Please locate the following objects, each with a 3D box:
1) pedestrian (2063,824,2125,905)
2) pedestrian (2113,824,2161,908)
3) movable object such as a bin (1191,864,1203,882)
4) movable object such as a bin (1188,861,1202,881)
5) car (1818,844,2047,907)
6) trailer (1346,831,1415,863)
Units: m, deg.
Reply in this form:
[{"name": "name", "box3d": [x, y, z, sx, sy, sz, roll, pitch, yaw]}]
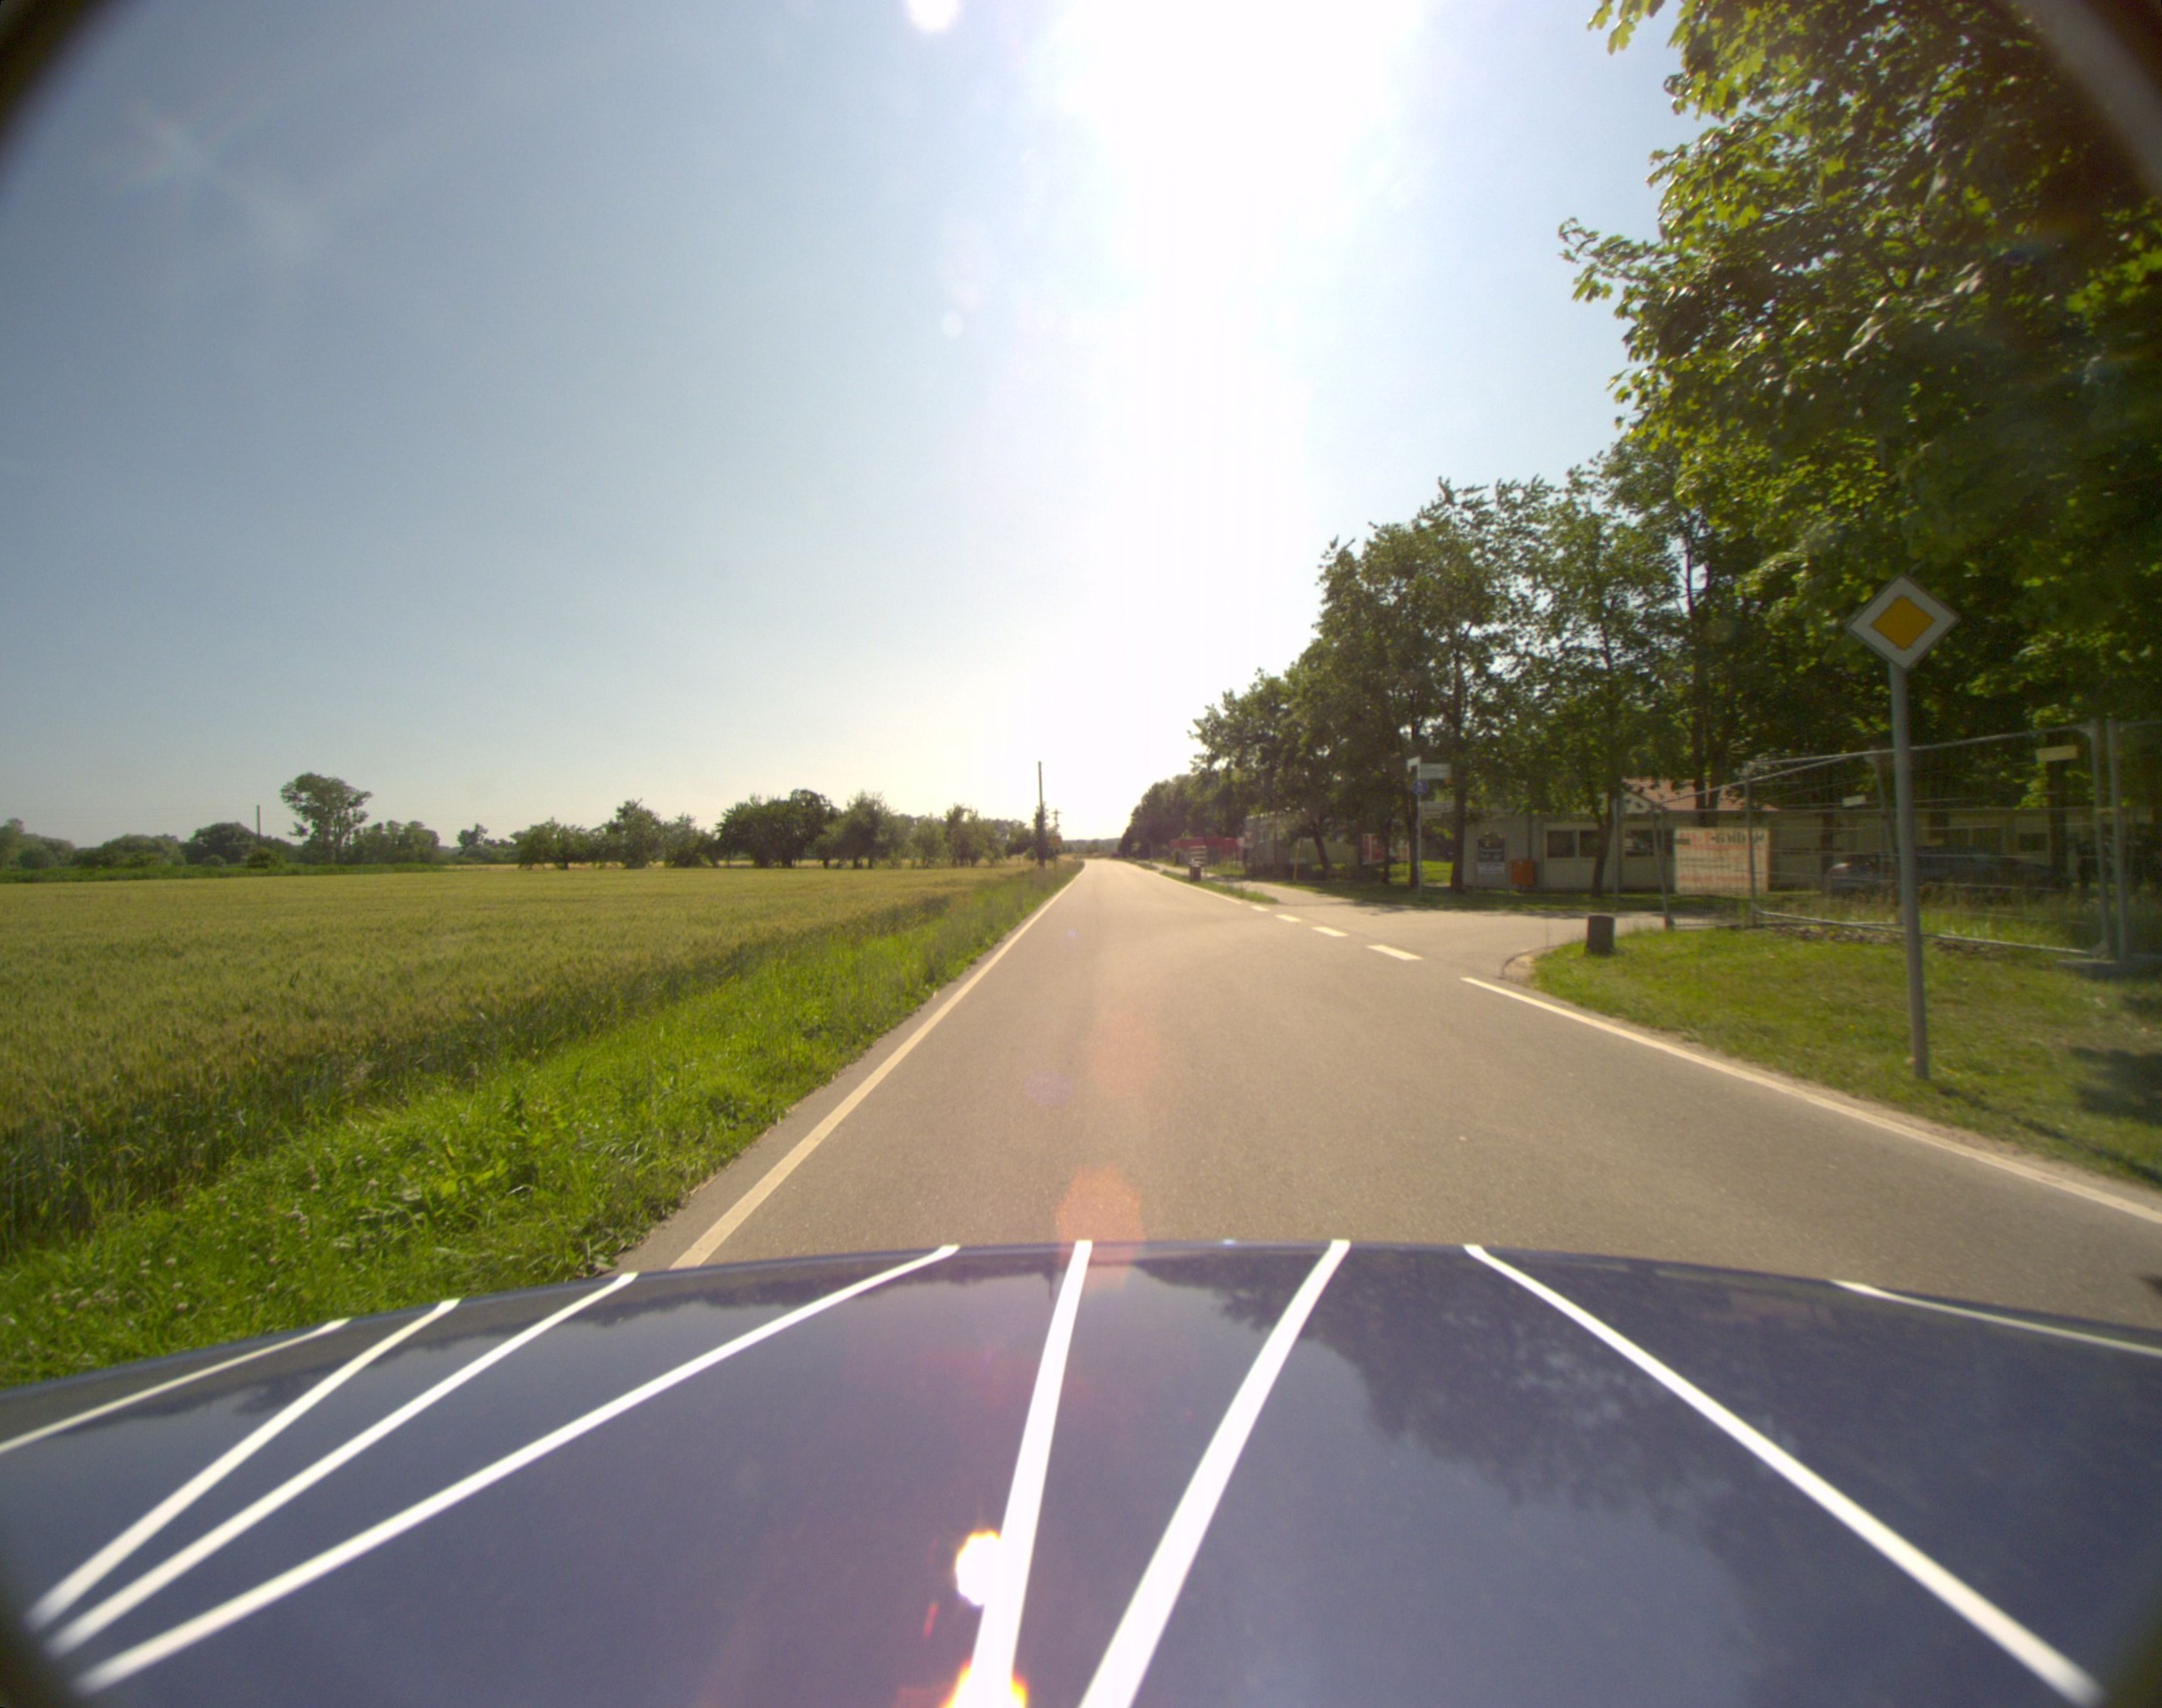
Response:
[{"name": "pedestrian", "box3d": [22.273, 0.228, 16.716, 0.605, 1.741, 0.586, -1, 1, -8]}, {"name": "pedestrian", "box3d": [22.406, 0.247, 15.984, 0.605, 1.741, 0.586, -1, 1, -8]}, {"name": "movable object such as a bin", "box3d": [5.740, 0.938, 37.616, 0.563, 0.872, 0.614, 0, 1, 9]}, {"name": "movable object such as a bin", "box3d": [5.785, 0.853, 38.433, 0.700, 1.018, 0.748, 0, 1, 9]}, {"name": "car", "box3d": [20.306, 0.473, 18.209, 3.811, 1.391, 1.758, -1, 0, -6]}, {"name": "trailer", "box3d": [21.218, -0.501, 53.807, 4.238, 2.264, 1.826, -1, 1, -12]}]
